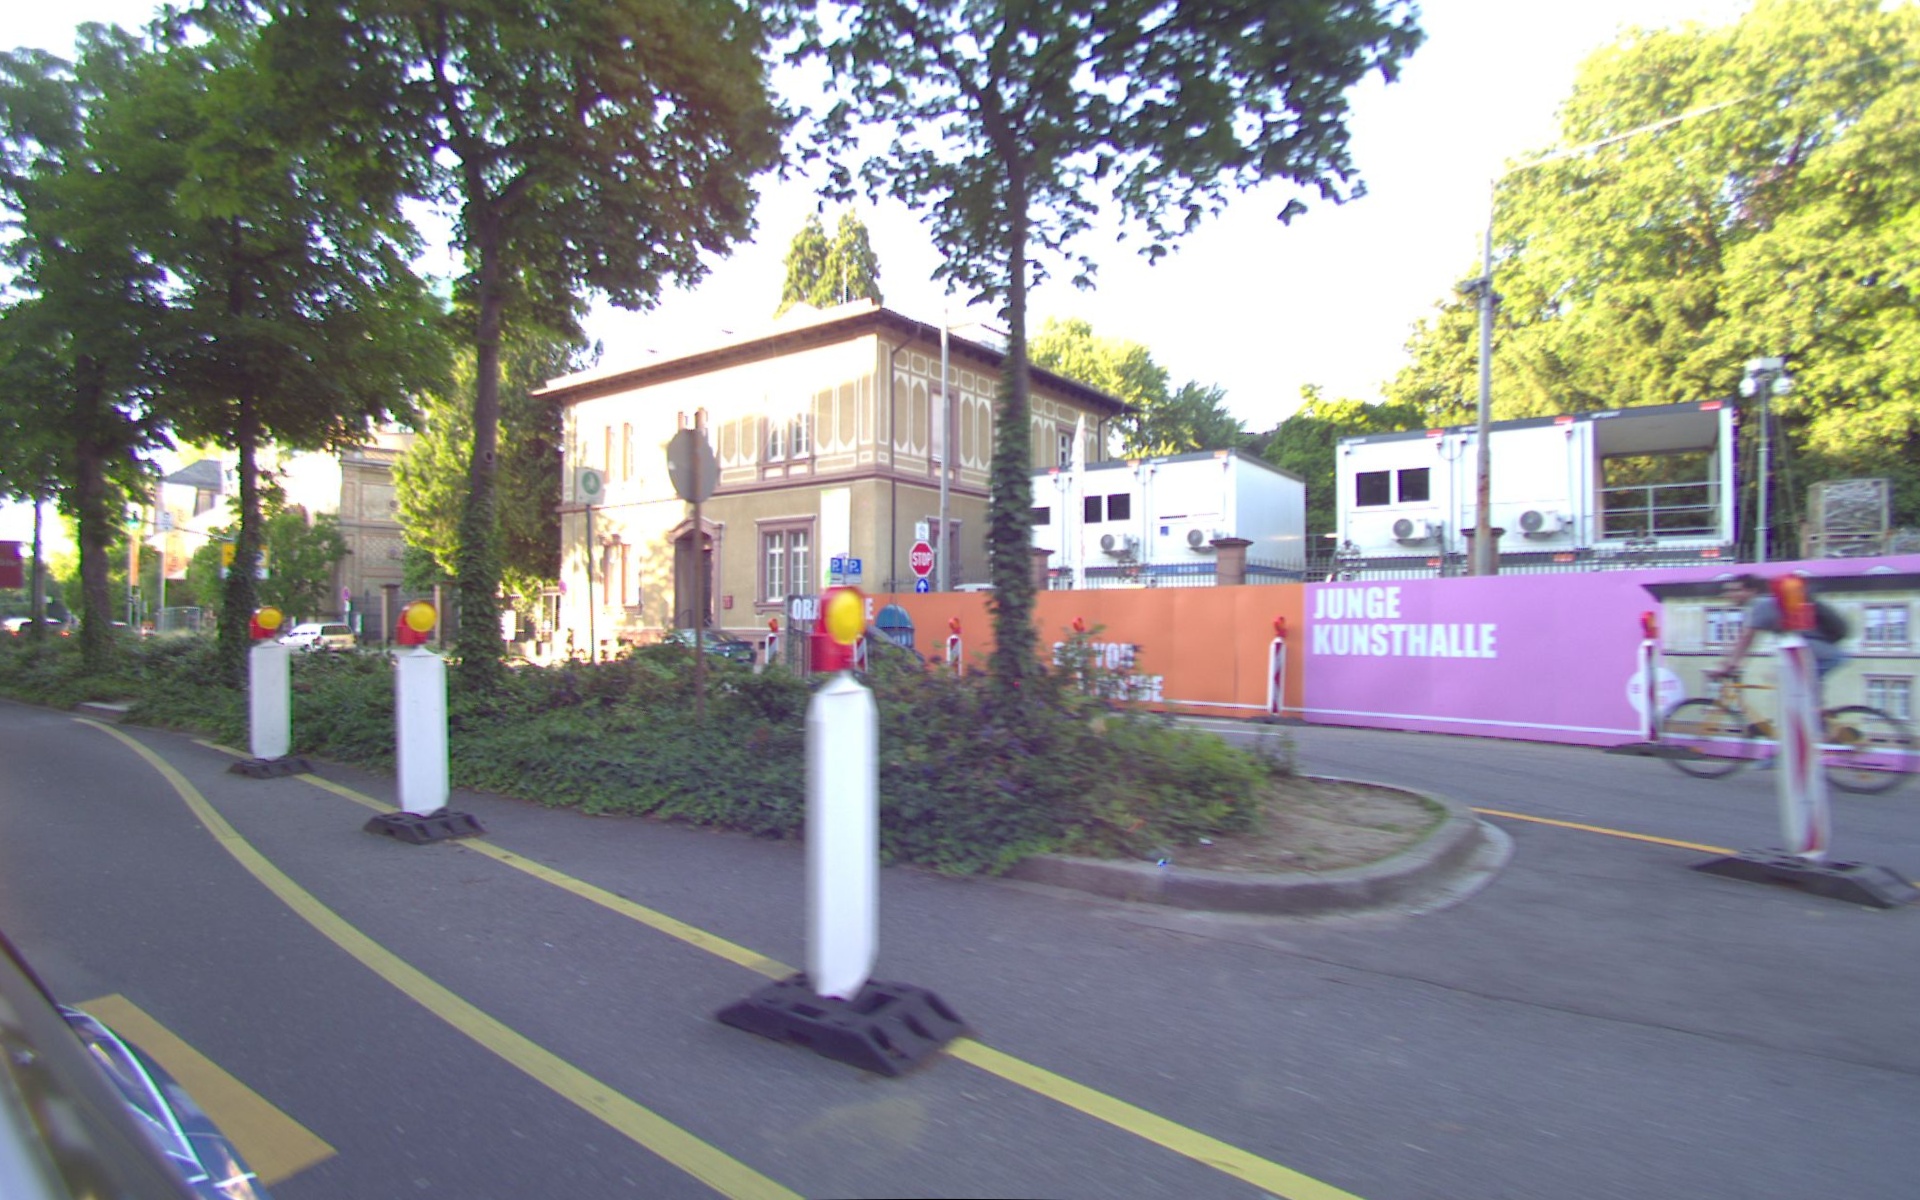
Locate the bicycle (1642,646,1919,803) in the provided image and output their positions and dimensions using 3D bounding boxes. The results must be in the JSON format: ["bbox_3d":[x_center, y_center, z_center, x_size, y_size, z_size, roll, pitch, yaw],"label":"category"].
[{"bbox_3d":[6.691,0.911,7.942,0.750,1.045,2.127,0,-2,-24],"label":"bicycle"}]

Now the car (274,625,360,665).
[{"bbox_3d":[-27.374,1.932,43.043,4.363,1.559,1.728,-3,-2,38],"label":"car"}]

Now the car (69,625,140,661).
[{"bbox_3d":[-39.199,1.954,46.338,4.172,1.563,1.823,-2,-4,41],"label":"car"}]

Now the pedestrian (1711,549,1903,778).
[{"bbox_3d":[6.671,0.479,8.003,0.724,1.687,0.898,0,-2,-24],"label":"pedestrian"}]

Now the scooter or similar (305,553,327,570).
[{"bbox_3d":[-32.739,-1.949,51.437,1.027,0.783,0.671,-2,-2,39],"label":"scooter or similar"}]

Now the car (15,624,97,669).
[{"bbox_3d":[-33.050,1.680,37.090,1.821,1.559,4.128,1,-3,-36],"label":"car"}]

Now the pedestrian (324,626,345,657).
[{"bbox_3d":[-32.463,2.169,52.501,0.762,1.591,0.728,-2,-2,40],"label":"pedestrian"}]

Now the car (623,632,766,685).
[{"bbox_3d":[-7.326,1.580,27.799,3.877,1.361,1.665,-1,-3,35],"label":"car"}]
